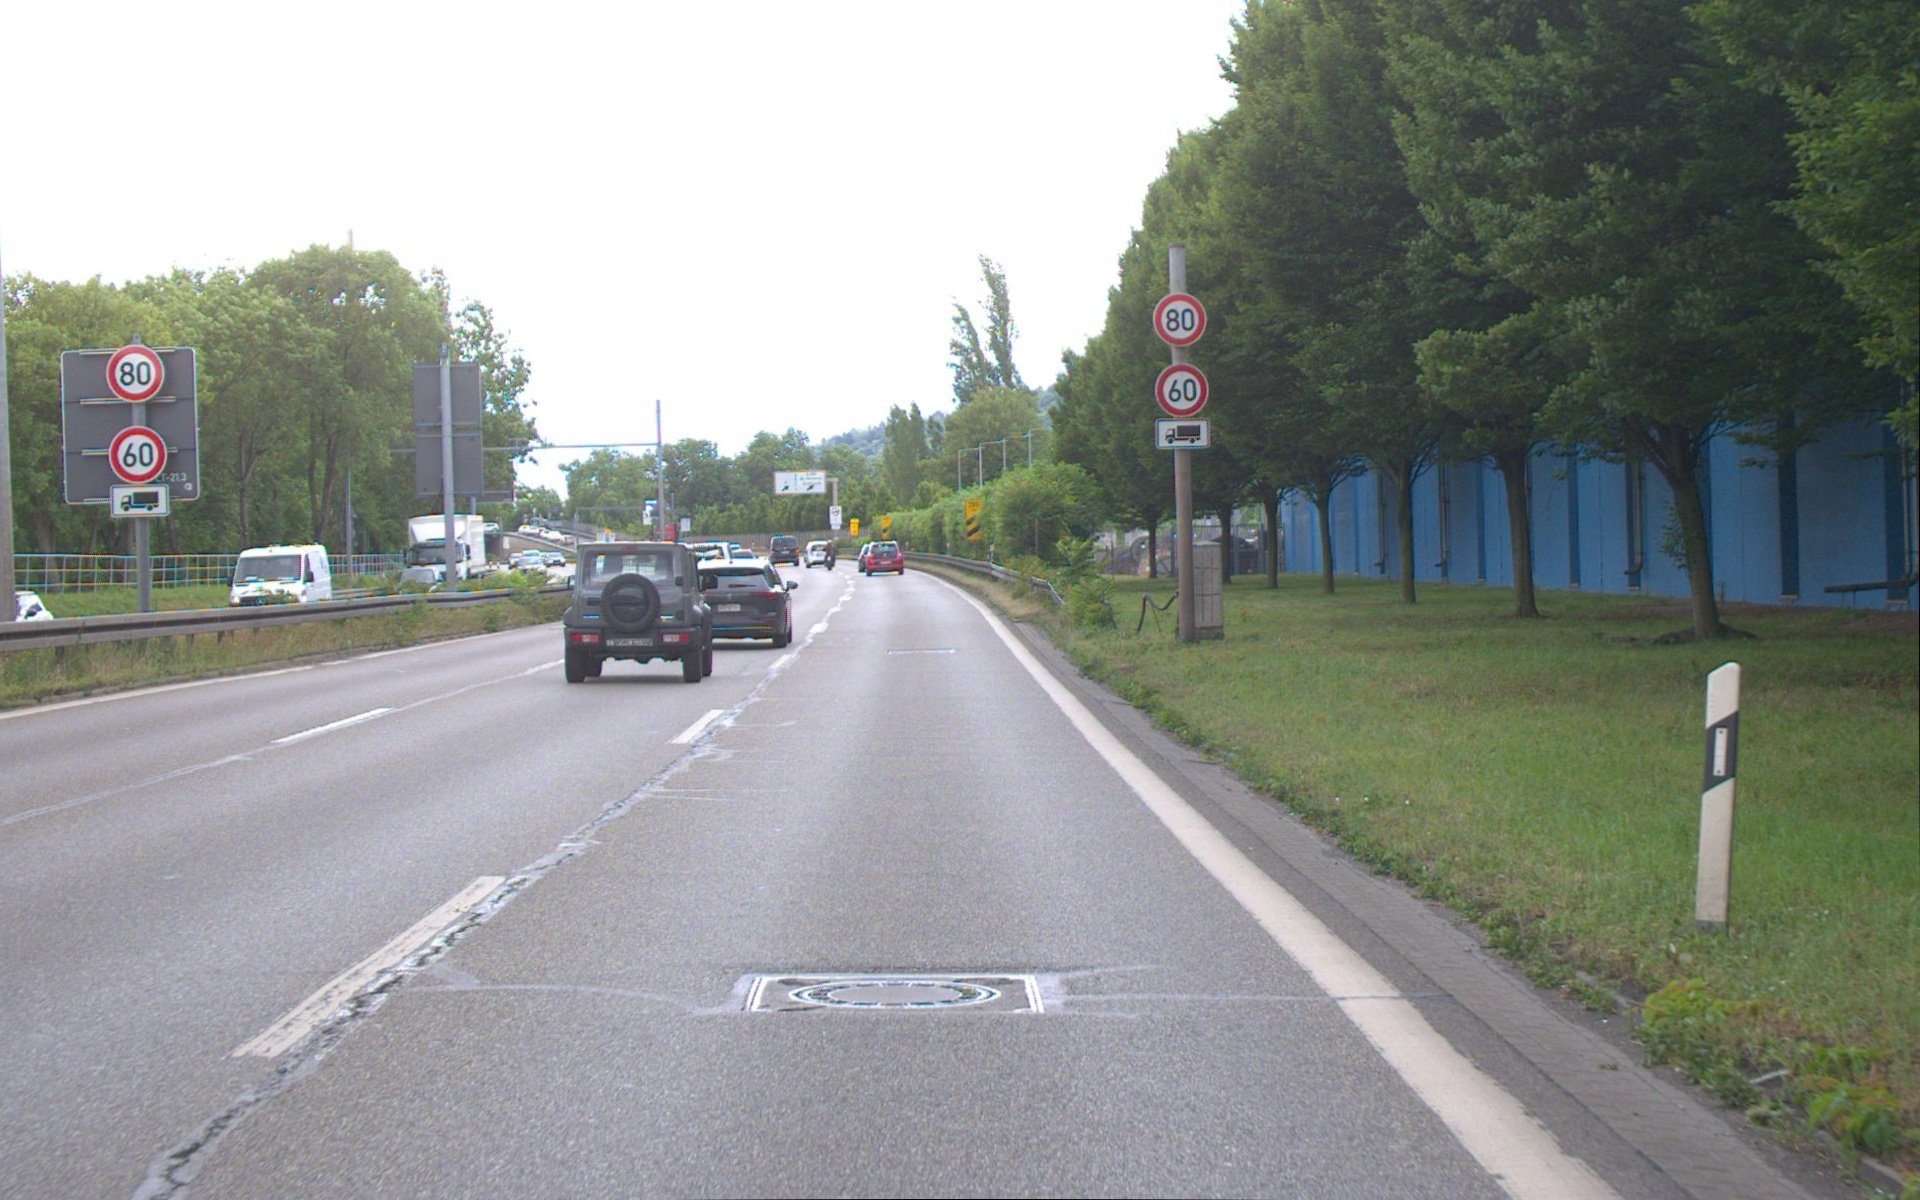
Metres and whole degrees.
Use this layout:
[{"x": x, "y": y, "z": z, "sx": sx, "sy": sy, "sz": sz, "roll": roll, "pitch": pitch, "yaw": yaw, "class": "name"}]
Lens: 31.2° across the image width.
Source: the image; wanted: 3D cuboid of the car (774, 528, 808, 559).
[{"x": -11.160, "y": -3.756, "z": 226.858, "sx": 2.013, "sy": 1.927, "sz": 4.901, "roll": -3, "pitch": 1, "yaw": -4, "class": "car"}]

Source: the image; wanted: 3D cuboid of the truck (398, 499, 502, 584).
[{"x": -22.557, "y": -2.601, "z": 152.603, "sx": 2.889, "sy": 3.566, "sz": 9.587, "roll": -2, "pitch": 1, "yaw": 1, "class": "truck"}]

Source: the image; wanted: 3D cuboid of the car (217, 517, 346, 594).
[{"x": -18.298, "y": -1.229, "z": 93.027, "sx": 2.226, "sy": 1.941, "sz": 5.474, "roll": -2, "pitch": 1, "yaw": 1, "class": "car"}]

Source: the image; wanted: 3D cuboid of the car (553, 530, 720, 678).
[{"x": -3.937, "y": 0.008, "z": 42.338, "sx": 1.697, "sy": 1.680, "sz": 4.000, "roll": 1, "pitch": 2, "yaw": -1, "class": "car"}]

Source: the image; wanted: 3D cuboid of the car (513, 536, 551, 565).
[{"x": -25.423, "y": -2.942, "z": 204.297, "sx": 1.726, "sy": 1.599, "sz": 4.043, "roll": -4, "pitch": 1, "yaw": -1, "class": "car"}]

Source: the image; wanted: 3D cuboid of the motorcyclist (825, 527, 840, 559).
[{"x": -7.121, "y": -3.180, "z": 191.533, "sx": 0.791, "sy": 1.754, "sz": 0.923, "roll": -1, "pitch": 1, "yaw": -1, "class": "motorcyclist"}]

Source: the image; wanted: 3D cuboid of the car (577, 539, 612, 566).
[{"x": -22.936, "y": -2.991, "z": 215.884, "sx": 1.697, "sy": 1.599, "sz": 4.539, "roll": -4, "pitch": 1, "yaw": -1, "class": "car"}]

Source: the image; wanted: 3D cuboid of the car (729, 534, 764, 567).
[{"x": -11.867, "y": -2.744, "z": 191.173, "sx": 1.697, "sy": 1.736, "sz": 4.394, "roll": -3, "pitch": 1, "yaw": -2, "class": "car"}]

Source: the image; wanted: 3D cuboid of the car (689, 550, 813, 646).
[{"x": -3.395, "y": -0.069, "z": 56.561, "sx": 1.845, "sy": 1.418, "sz": 4.901, "roll": -3, "pitch": 1, "yaw": -2, "class": "car"}]

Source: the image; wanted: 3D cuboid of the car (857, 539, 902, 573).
[{"x": -3.683, "y": -2.015, "z": 156.499, "sx": 1.974, "sy": 1.418, "sz": 4.901, "roll": -3, "pitch": 1, "yaw": -2, "class": "car"}]

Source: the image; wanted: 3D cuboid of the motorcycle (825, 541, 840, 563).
[{"x": -7.113, "y": -2.680, "z": 191.611, "sx": 0.791, "sy": 1.215, "sz": 2.330, "roll": -1, "pitch": 2, "yaw": -1, "class": "motorcycle"}]

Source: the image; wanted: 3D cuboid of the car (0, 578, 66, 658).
[{"x": -18.372, "y": 0.329, "z": 65.478, "sx": 1.659, "sy": 1.393, "sz": 3.989, "roll": -1, "pitch": 2, "yaw": -1, "class": "car"}]

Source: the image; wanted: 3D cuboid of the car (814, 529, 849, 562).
[{"x": -7.867, "y": -3.339, "z": 210.622, "sx": 2.013, "sy": 1.927, "sz": 4.901, "roll": -3, "pitch": 1, "yaw": -2, "class": "car"}]

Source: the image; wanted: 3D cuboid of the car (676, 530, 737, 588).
[{"x": -8.001, "y": -1.303, "z": 108.815, "sx": 1.697, "sy": 1.736, "sz": 4.000, "roll": -2, "pitch": 1, "yaw": -2, "class": "car"}]

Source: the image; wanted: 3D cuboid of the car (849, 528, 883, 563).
[{"x": -4.824, "y": -2.823, "z": 176.863, "sx": 1.697, "sy": 1.736, "sz": 4.393, "roll": -2, "pitch": 1, "yaw": -1, "class": "car"}]
